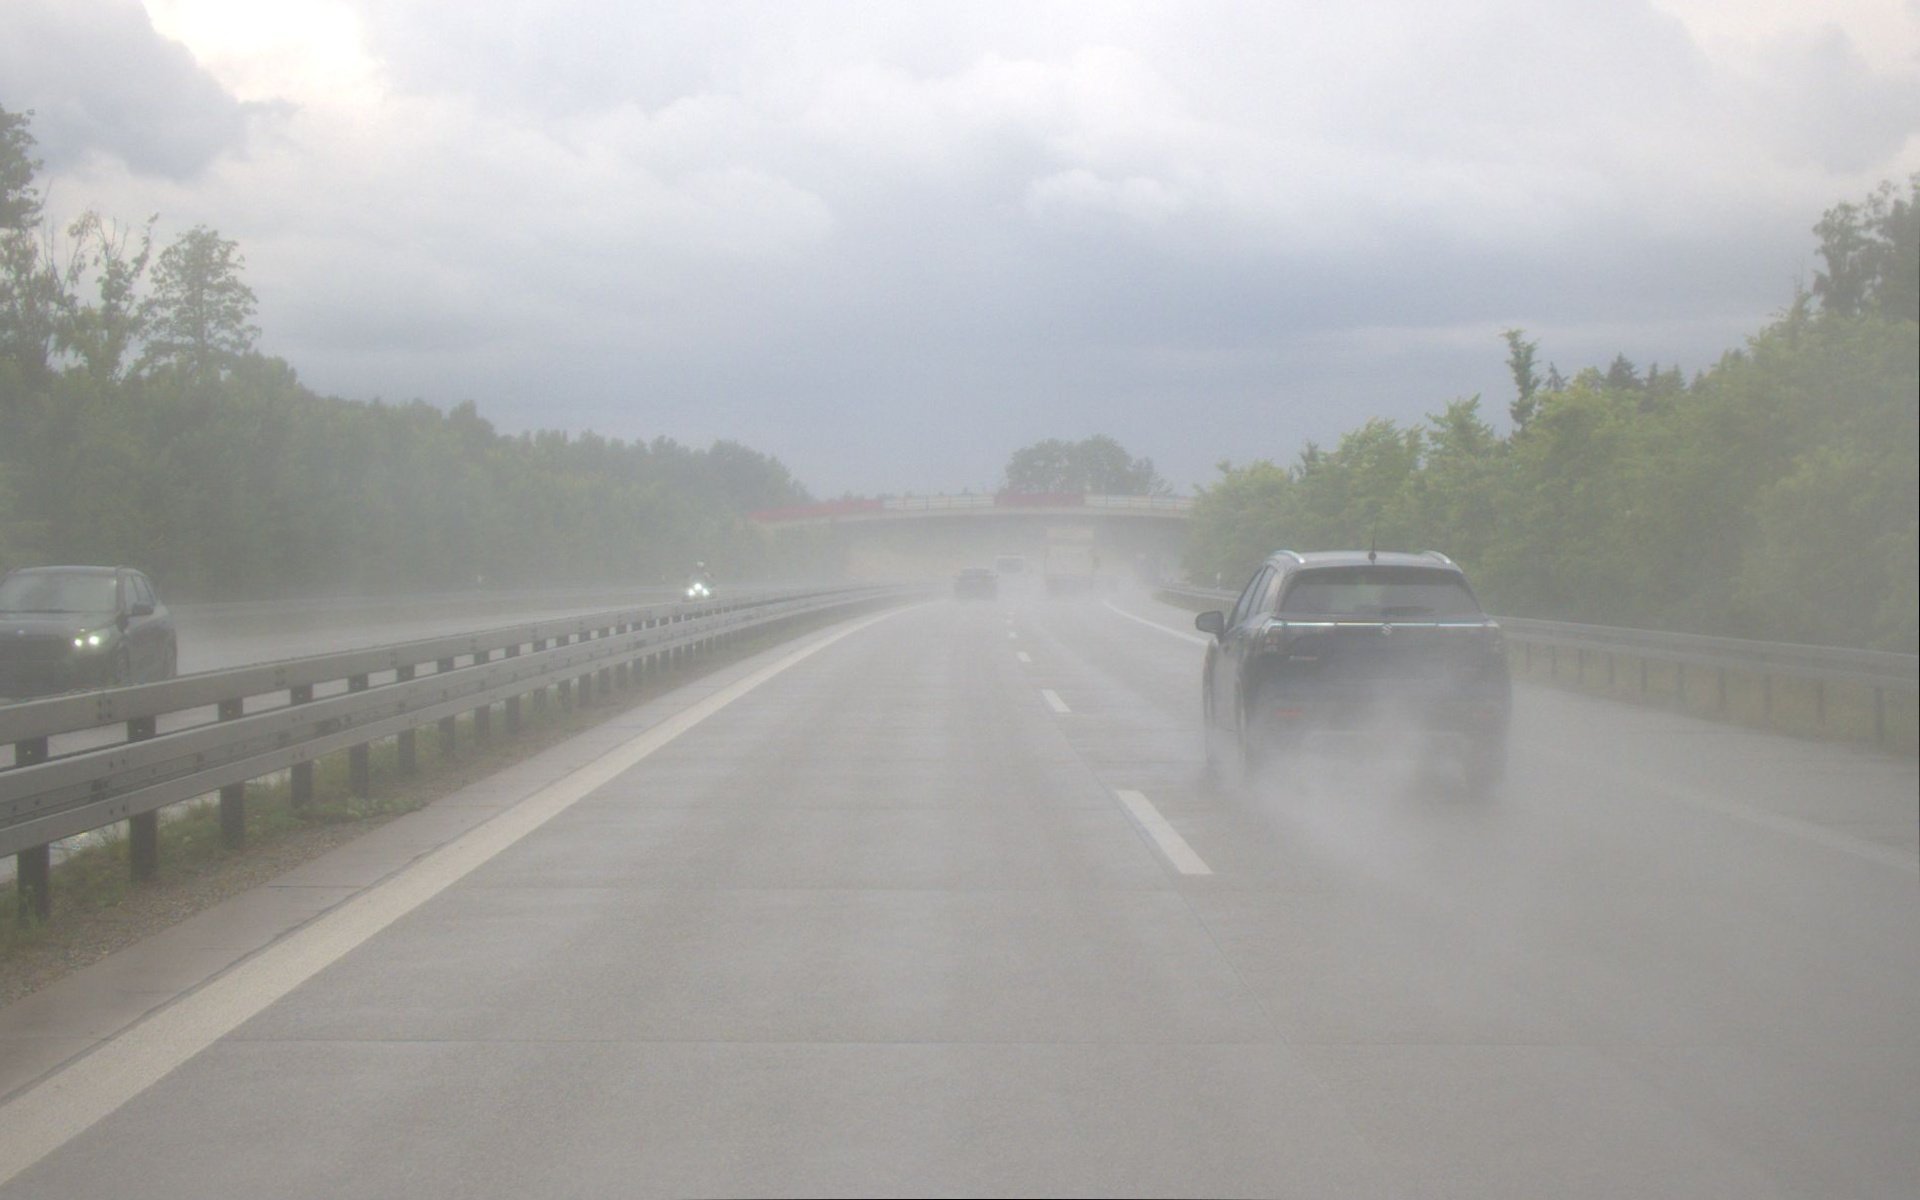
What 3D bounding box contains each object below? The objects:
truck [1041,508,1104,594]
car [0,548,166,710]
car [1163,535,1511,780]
[{"bbox_3d":[5.919,-2.567,180.915,3.244,4.422,8.245,0,0,2],"label":"truck"},{"bbox_3d":[-10.093,0.292,37.978,1.794,1.613,4.001,-2,2,-2],"label":"car"},{"bbox_3d":[2.559,0.371,24.166,1.894,1.570,3.632,1,0,-2],"label":"car"}]
